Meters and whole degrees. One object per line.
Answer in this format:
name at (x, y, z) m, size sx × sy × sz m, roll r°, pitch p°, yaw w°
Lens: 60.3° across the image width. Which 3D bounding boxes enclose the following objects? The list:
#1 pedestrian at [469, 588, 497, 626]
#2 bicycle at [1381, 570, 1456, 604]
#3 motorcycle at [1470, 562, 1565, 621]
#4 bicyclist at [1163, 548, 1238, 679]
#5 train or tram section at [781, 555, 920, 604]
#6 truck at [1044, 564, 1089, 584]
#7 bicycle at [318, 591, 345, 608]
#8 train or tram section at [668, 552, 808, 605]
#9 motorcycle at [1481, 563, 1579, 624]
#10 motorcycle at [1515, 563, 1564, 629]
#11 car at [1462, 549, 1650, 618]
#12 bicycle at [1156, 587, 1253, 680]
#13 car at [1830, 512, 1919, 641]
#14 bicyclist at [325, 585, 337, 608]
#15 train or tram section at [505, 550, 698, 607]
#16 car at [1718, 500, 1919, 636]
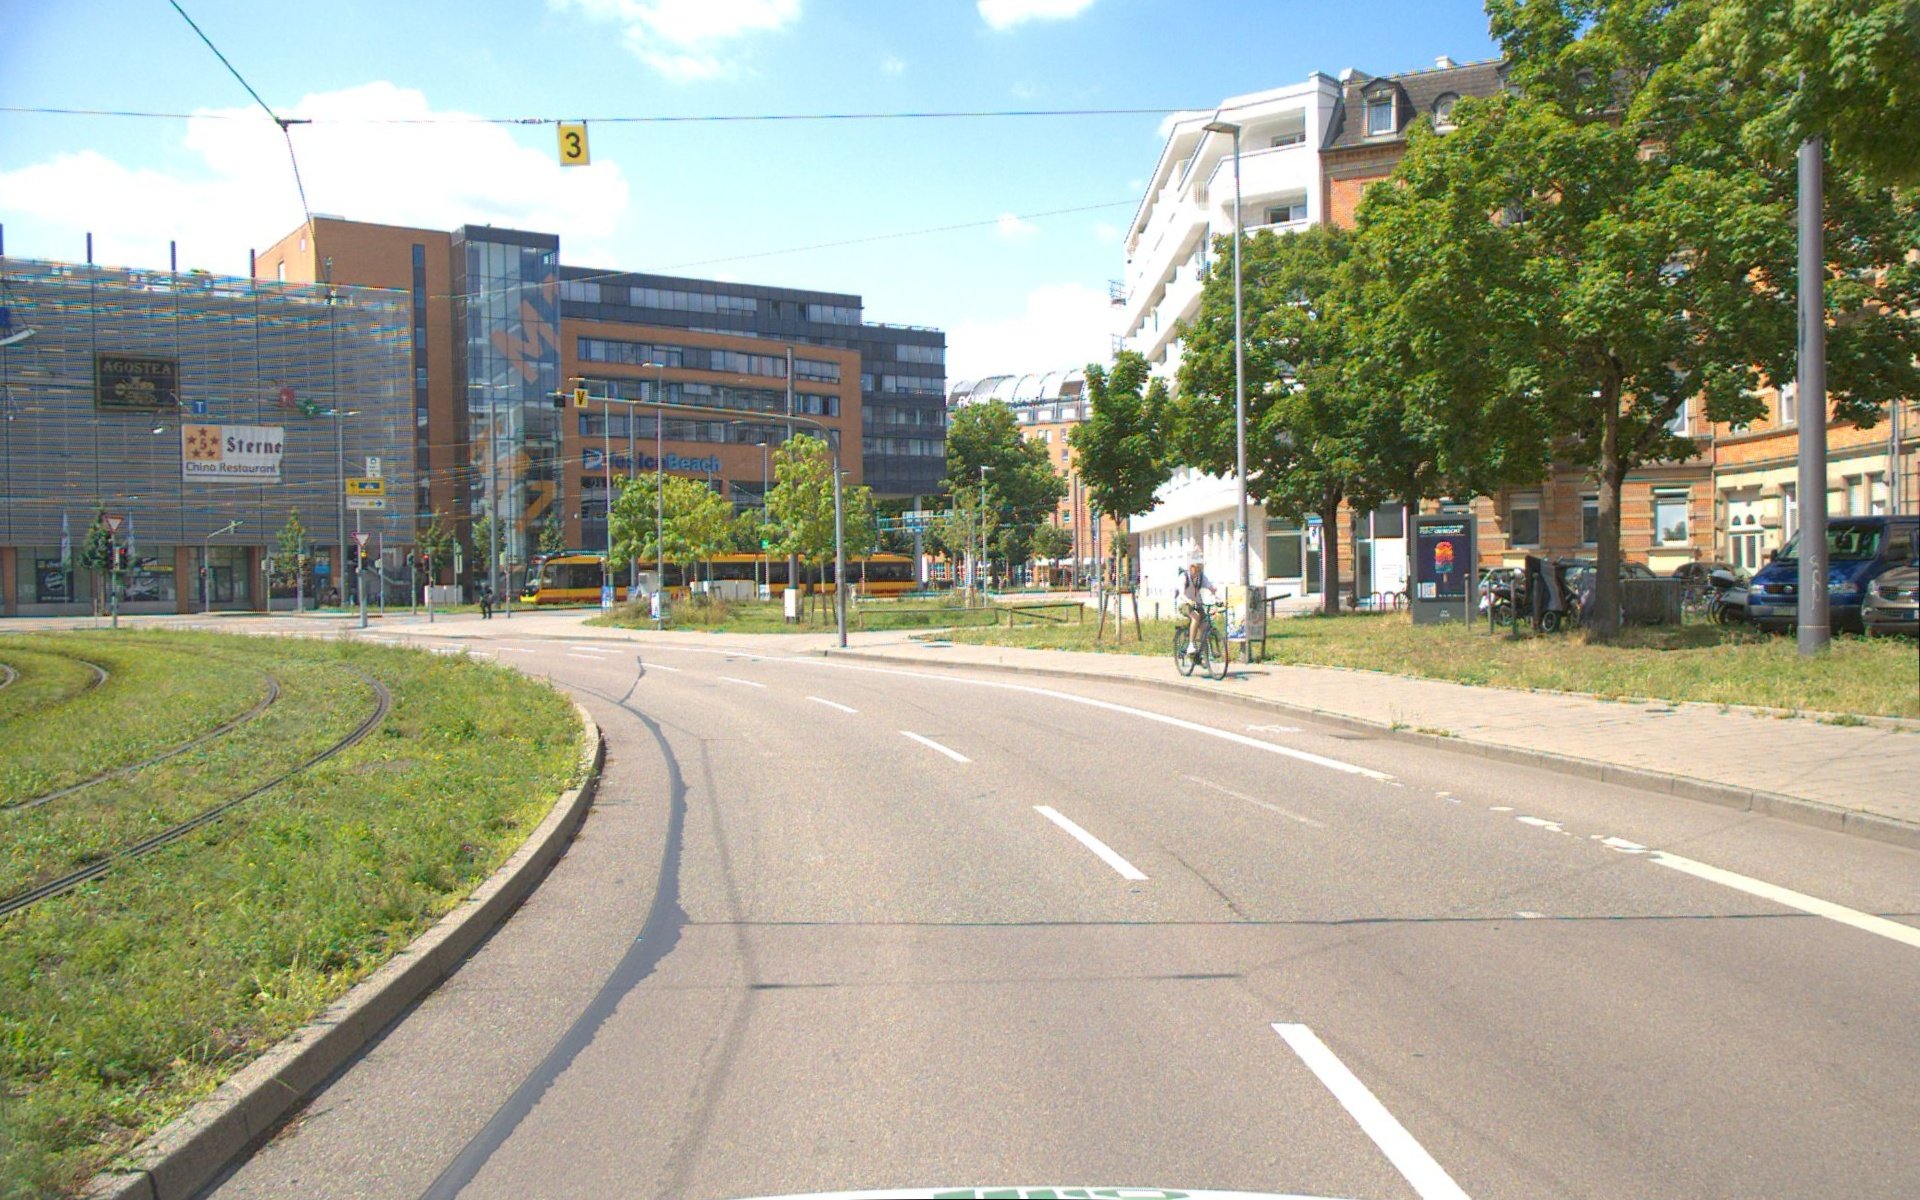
pedestrian at (-22.266, 0.316, 77.207) m, size 0.897 × 1.732 × 0.808 m, roll -2°, pitch 1°, yaw 25°
bicycle at (13.658, -0.383, 49.247) m, size 2.352 × 0.986 × 0.540 m, roll -1°, pitch 0°, yaw -24°
motorcycle at (11.603, -0.183, 34.427) m, size 1.747 × 1.187 × 0.640 m, roll -1°, pitch 0°, yaw -1°
bicyclist at (3.568, 0.186, 24.577) m, size 0.683 × 1.855 × 0.952 m, roll -4°, pitch 2°, yaw -16°
train or tram section at (-8.411, -1.626, 129.631) m, size 3.008 × 3.684 × 12.569 m, roll 0°, pitch 0°, yaw 40°
truck at (12.038, -2.929, 187.396) m, size 1.980 × 2.122 × 5.447 m, roll -1°, pitch 0°, yaw -38°
bicycle at (-45.544, -0.057, 119.939) m, size 1.747 × 1.245 × 0.577 m, roll -1°, pitch 0°, yaw -37°
train or tram section at (-16.026, -1.538, 120.591) m, size 3.009 × 3.666 × 10.932 m, roll 0°, pitch 0°, yaw 41°
motorcycle at (11.579, -0.137, 33.617) m, size 1.747 × 1.187 × 0.640 m, roll -1°, pitch 0°, yaw -1°
motorcycle at (10.833, -0.094, 30.967) m, size 0.624 × 1.187 × 1.908 m, roll -1°, pitch 1°, yaw 12°
car at (13.784, -0.397, 38.217) m, size 4.200 × 1.452 × 1.788 m, roll -2°, pitch 1°, yaw -30°
bicycle at (3.605, 0.475, 24.539) m, size 0.682 × 1.263 × 1.831 m, roll -4°, pitch 2°, yaw -15°
car at (14.232, -0.329, 22.874) m, size 4.111 × 1.685 × 1.900 m, roll -1°, pitch 0°, yaw -27°
bicyclist at (-45.594, -0.275, 119.902) m, size 0.657 × 1.652 × 0.544 m, roll 0°, pitch 0°, yaw -36°
train or tram section at (-23.910, -1.427, 111.392) m, size 3.170 × 3.662 × 13.415 m, roll 0°, pitch 0°, yaw 42°
car at (14.115, -0.490, 25.863) m, size 4.568 × 1.961 × 1.897 m, roll -1°, pitch 0°, yaw -31°
